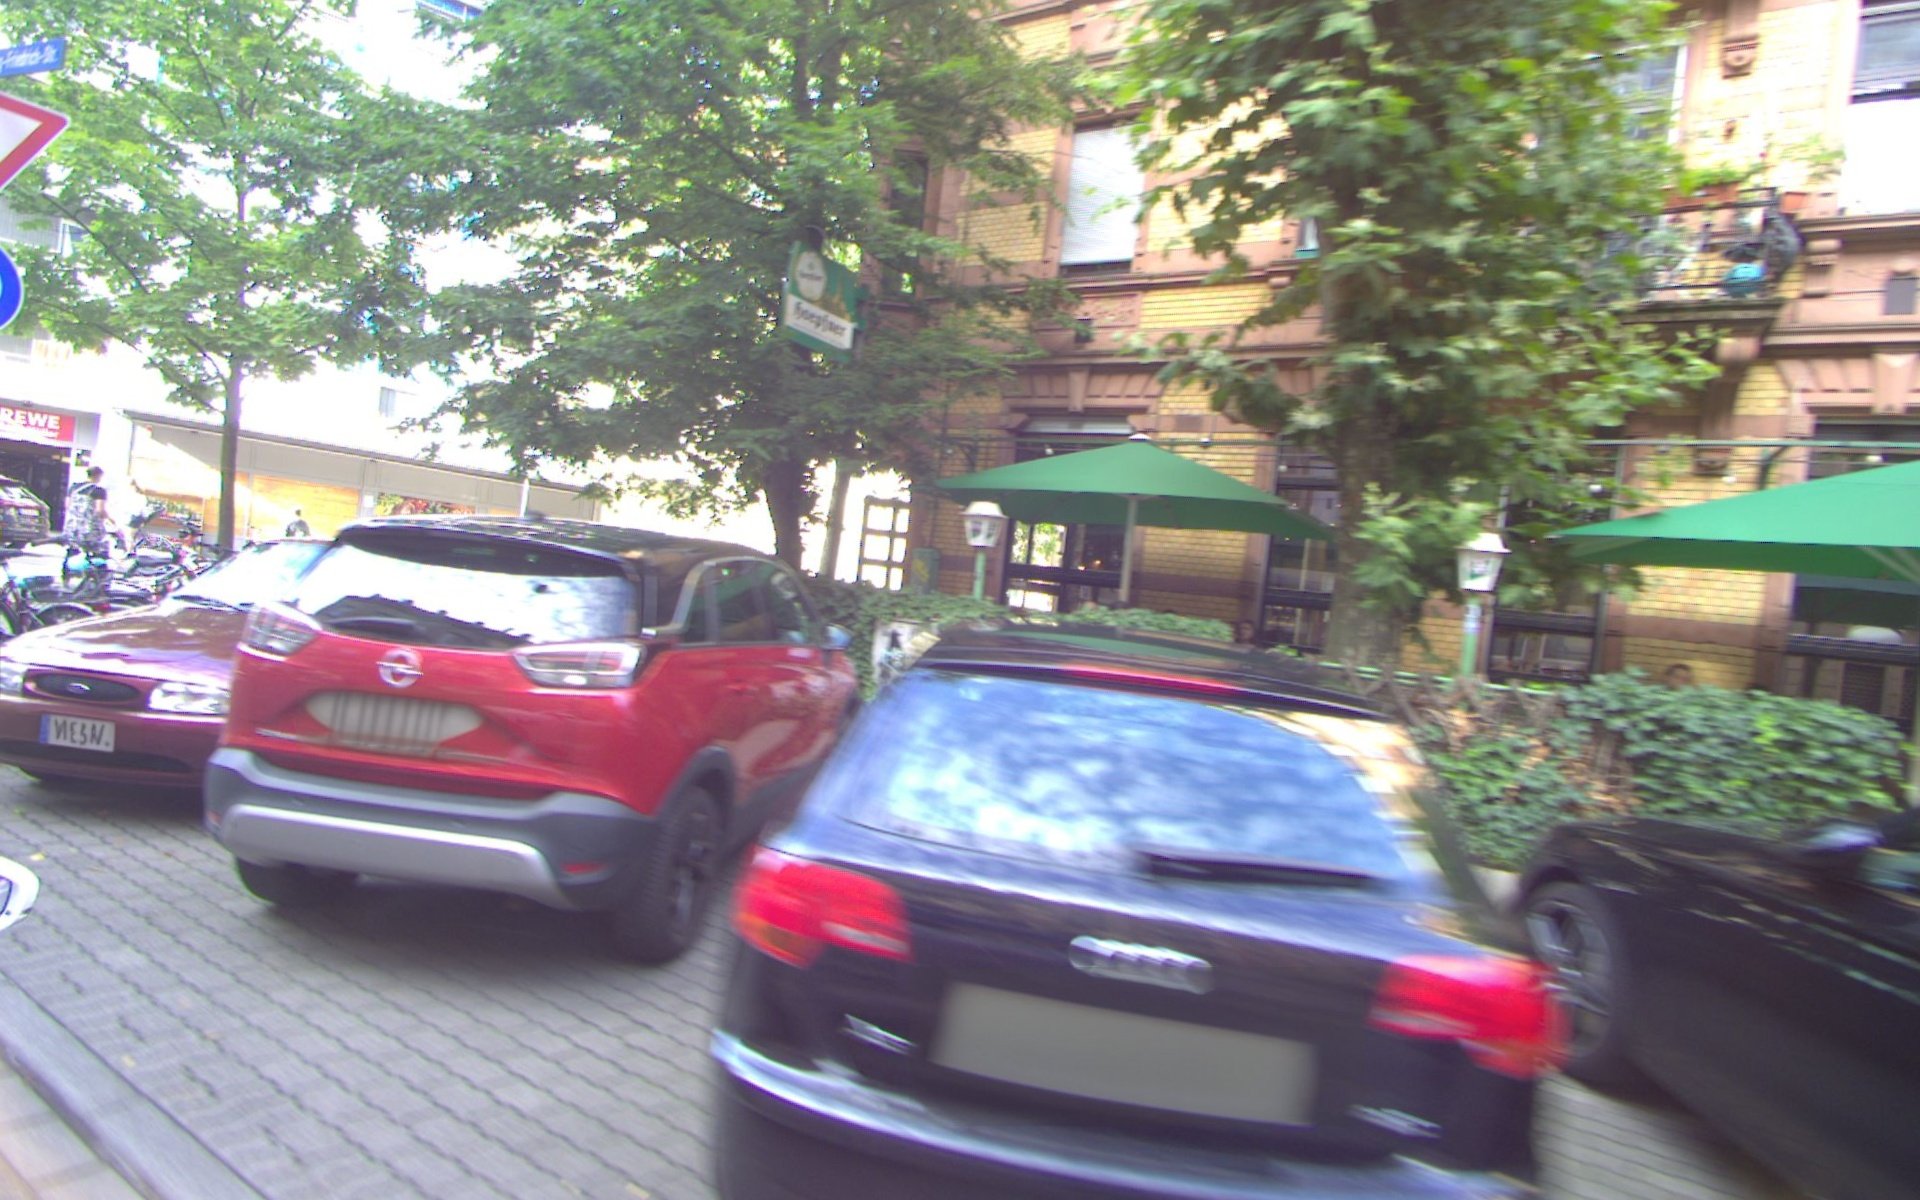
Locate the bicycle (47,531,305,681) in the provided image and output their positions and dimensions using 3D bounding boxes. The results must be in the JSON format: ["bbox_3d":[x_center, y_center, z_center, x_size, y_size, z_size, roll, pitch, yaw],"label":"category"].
[{"bbox_3d":[-6.603,0.041,8.497,1.884,1.054,0.389,6,4,2],"label":"bicycle"}]

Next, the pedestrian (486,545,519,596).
[{"bbox_3d":[-14.333,-0.911,31.531,0.745,1.498,0.581,6,1,-33],"label":"pedestrian"}]

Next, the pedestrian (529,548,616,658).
[{"bbox_3d":[-5.093,0.051,13.244,0.586,1.359,0.758,7,1,27],"label":"pedestrian"}]

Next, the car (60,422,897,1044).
[{"bbox_3d":[-1.644,0.349,5.206,1.787,1.667,4.352,7,2,6],"label":"car"}]

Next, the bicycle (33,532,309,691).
[{"bbox_3d":[-6.293,0.077,8.051,1.870,1.054,0.444,6,4,2],"label":"bicycle"}]

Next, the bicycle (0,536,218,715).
[{"bbox_3d":[-6.221,0.145,6.967,1.822,1.054,0.460,6,4,2],"label":"bicycle"}]

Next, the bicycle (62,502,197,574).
[{"bbox_3d":[-17.209,-1.270,20.899,1.948,1.214,0.709,7,1,-21],"label":"bicycle"}]

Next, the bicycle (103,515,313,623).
[{"bbox_3d":[-9.325,-0.354,12.560,0.643,1.108,1.925,7,0,36],"label":"bicycle"}]

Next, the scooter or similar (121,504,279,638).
[{"bbox_3d":[-8.272,-0.305,11.011,1.237,1.290,0.658,7,1,-34],"label":"scooter or similar"}]

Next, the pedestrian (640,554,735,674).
[{"bbox_3d":[-3.357,0.182,12.415,0.745,1.375,0.673,7,1,27],"label":"pedestrian"}]

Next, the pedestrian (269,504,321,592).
[{"bbox_3d":[-14.191,-1.109,21.474,0.765,1.760,0.627,7,1,44],"label":"pedestrian"}]

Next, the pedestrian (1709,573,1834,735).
[{"bbox_3d":[6.629,0.431,8.244,0.553,1.236,0.466,7,3,22],"label":"pedestrian"}]

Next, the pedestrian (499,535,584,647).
[{"bbox_3d":[-5.600,-0.108,13.490,0.539,1.410,0.758,7,1,27],"label":"pedestrian"}]

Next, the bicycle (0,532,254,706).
[{"bbox_3d":[-6.255,0.120,7.362,1.980,1.054,0.347,6,4,4],"label":"bicycle"}]

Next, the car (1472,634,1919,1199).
[{"bbox_3d":[3.049,1.048,1.690,2.018,1.476,4.765,7,2,4],"label":"car"}]

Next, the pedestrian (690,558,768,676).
[{"bbox_3d":[-2.977,0.227,12.987,0.626,1.424,0.574,7,1,24],"label":"pedestrian"}]

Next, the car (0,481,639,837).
[{"bbox_3d":[-3.798,0.293,6.665,1.736,1.474,3.945,7,0,4],"label":"car"}]

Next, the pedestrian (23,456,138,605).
[{"bbox_3d":[-11.470,-0.884,13.151,0.773,1.802,0.789,6,1,-20],"label":"pedestrian"}]

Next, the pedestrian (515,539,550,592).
[{"bbox_3d":[-13.653,-1.107,32.130,0.742,1.568,0.725,8,0,-32],"label":"pedestrian"}]

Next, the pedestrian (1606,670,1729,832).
[{"bbox_3d":[6.023,1.268,8.598,0.638,1.236,0.488,7,3,23],"label":"pedestrian"}]

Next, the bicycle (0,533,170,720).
[{"bbox_3d":[-6.214,0.114,6.472,1.822,1.054,0.549,6,4,2],"label":"bicycle"}]

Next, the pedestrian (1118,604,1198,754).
[{"bbox_3d":[2.250,0.886,11.387,0.560,1.590,0.629,7,1,27],"label":"pedestrian"}]

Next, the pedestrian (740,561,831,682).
[{"bbox_3d":[-2.207,0.276,12.772,0.745,1.424,0.673,7,1,28],"label":"pedestrian"}]

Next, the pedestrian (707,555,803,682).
[{"bbox_3d":[-2.480,0.233,12.182,0.745,1.424,0.673,7,1,28],"label":"pedestrian"}]

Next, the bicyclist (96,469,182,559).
[{"bbox_3d":[-17.054,-1.771,20.929,1.002,1.689,0.939,6,1,-20],"label":"bicyclist"}]

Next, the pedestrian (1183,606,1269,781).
[{"bbox_3d":[2.707,0.918,10.209,0.554,1.664,0.646,7,3,27],"label":"pedestrian"}]

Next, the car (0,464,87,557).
[{"bbox_3d":[-20.945,-2.053,20.173,4.762,1.747,2.038,7,2,-7],"label":"car"}]

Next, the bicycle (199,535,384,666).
[{"bbox_3d":[-6.325,0.010,9.546,1.360,1.053,0.451,7,1,1],"label":"bicycle"}]

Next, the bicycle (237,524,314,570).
[{"bbox_3d":[-19.249,-1.491,28.313,1.660,1.063,0.456,7,1,-19],"label":"bicycle"}]

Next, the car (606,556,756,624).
[{"bbox_3d":[-8.531,-0.296,30.755,3.928,1.529,1.999,7,0,24],"label":"car"}]

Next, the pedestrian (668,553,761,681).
[{"bbox_3d":[-2.821,0.201,11.568,0.618,1.368,0.670,7,1,27],"label":"pedestrian"}]

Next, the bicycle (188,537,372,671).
[{"bbox_3d":[-6.183,0.031,9.163,1.429,1.054,0.336,6,4,2],"label":"bicycle"}]

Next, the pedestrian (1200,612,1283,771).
[{"bbox_3d":[3.025,0.965,10.785,0.560,1.590,0.629,7,1,27],"label":"pedestrian"}]

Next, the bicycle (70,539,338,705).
[{"bbox_3d":[-5.736,0.155,7.643,1.822,1.054,0.347,6,4,4],"label":"bicycle"}]

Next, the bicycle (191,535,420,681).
[{"bbox_3d":[-5.743,0.061,8.844,1.764,1.089,0.354,6,4,2],"label":"bicycle"}]

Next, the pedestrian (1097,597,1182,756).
[{"bbox_3d":[1.925,0.811,10.765,0.560,1.590,0.629,7,1,27],"label":"pedestrian"}]

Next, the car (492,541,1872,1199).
[{"bbox_3d":[0.488,0.803,3.693,1.906,1.475,4.417,7,0,7],"label":"car"}]

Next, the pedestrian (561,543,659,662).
[{"bbox_3d":[-4.490,0.043,12.937,0.690,1.424,0.798,7,1,27],"label":"pedestrian"}]
